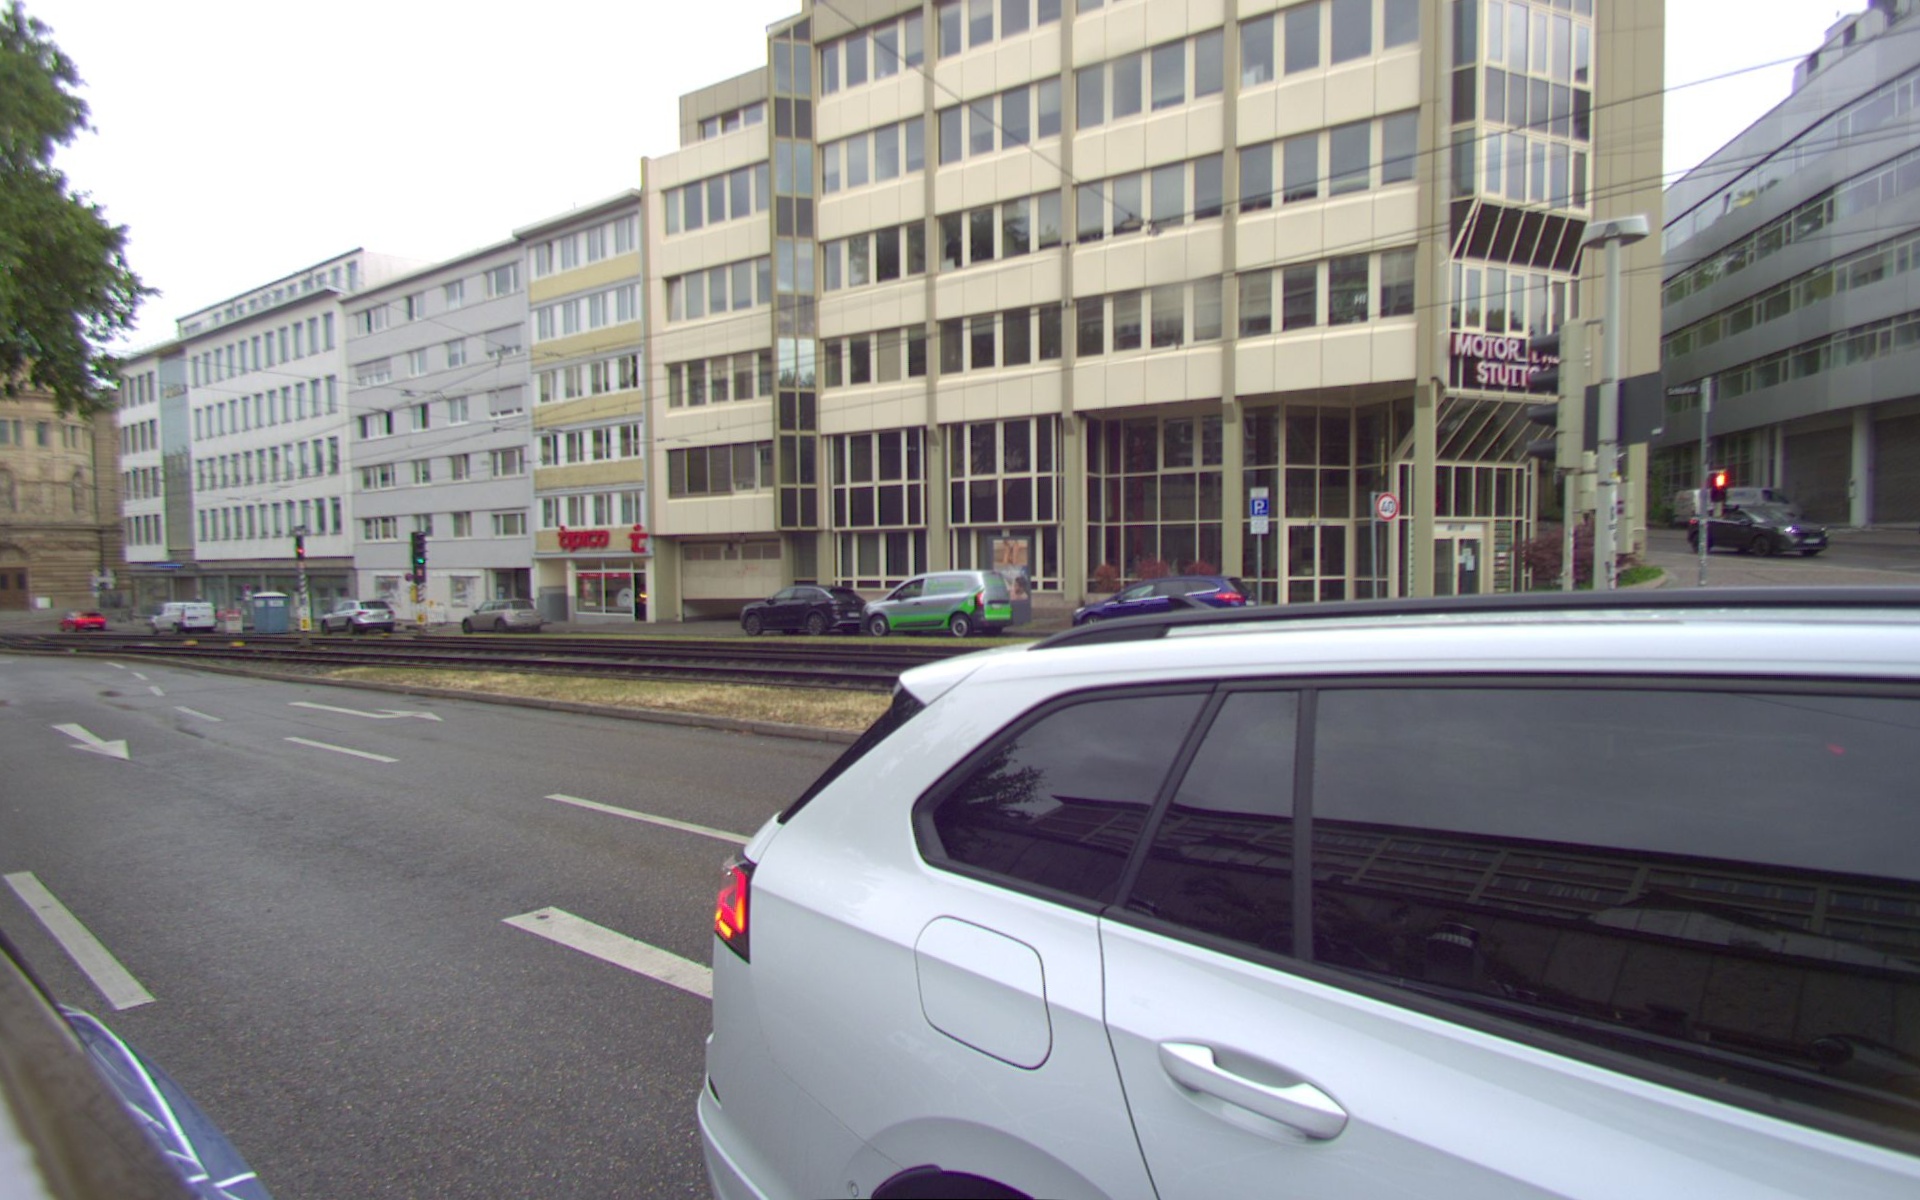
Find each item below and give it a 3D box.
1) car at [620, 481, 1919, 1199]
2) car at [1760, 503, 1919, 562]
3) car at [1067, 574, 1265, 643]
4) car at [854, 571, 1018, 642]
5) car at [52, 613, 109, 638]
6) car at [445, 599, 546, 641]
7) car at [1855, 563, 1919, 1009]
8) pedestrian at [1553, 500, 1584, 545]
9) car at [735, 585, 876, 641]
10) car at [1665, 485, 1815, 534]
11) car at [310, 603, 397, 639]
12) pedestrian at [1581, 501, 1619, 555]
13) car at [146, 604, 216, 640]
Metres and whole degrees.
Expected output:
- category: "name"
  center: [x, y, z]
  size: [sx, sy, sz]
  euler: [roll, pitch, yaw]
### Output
- category: "car"
  center: [1.600, 0.626, 1.169]
  size: [4.473, 1.453, 1.777]
  euler: [-1, 0, 41]
- category: "car"
  center: [27.479, -2.133, 31.148]
  size: [1.974, 1.591, 4.884]
  euler: [-2, 5, 3]
- category: "car"
  center: [4.808, 0.194, 23.858]
  size: [4.207, 1.488, 1.780]
  euler: [-1, 0, 35]
- category: "car"
  center: [-0.684, 0.171, 27.873]
  size: [4.204, 1.759, 1.782]
  euler: [-1, 2, 33]
- category: "car"
  center: [-62.214, 1.778, 71.570]
  size: [4.465, 1.636, 1.869]
  euler: [-1, 3, 34]
- category: "car"
  center: [-18.718, 0.788, 40.721]
  size: [4.066, 1.524, 1.782]
  euler: [-1, 3, 34]
- category: "car"
  center: [5.290, 0.577, 2.567]
  size: [4.473, 1.453, 1.777]
  euler: [-1, 0, 41]
- category: "pedestrian"
  center: [22.839, -2.905, 38.009]
  size: [0.711, 1.651, 0.759]
  euler: [-2, 3, 6]
- category: "car"
  center: [-4.725, 0.380, 30.763]
  size: [4.066, 1.524, 1.782]
  euler: [-1, 3, 34]
- category: "car"
  center: [37.619, -4.347, 48.943]
  size: [5.357, 2.029, 1.993]
  euler: [-1, 0, 12]
- category: "car"
  center: [-28.318, 0.949, 47.220]
  size: [4.066, 1.524, 1.869]
  euler: [-1, 3, 34]
- category: "pedestrian"
  center: [21.956, -2.461, 34.739]
  size: [0.821, 1.800, 0.759]
  euler: [-2, 3, 6]
- category: "car"
  center: [-46.556, 1.289, 60.464]
  size: [4.465, 1.949, 1.869]
  euler: [-1, 3, 34]
